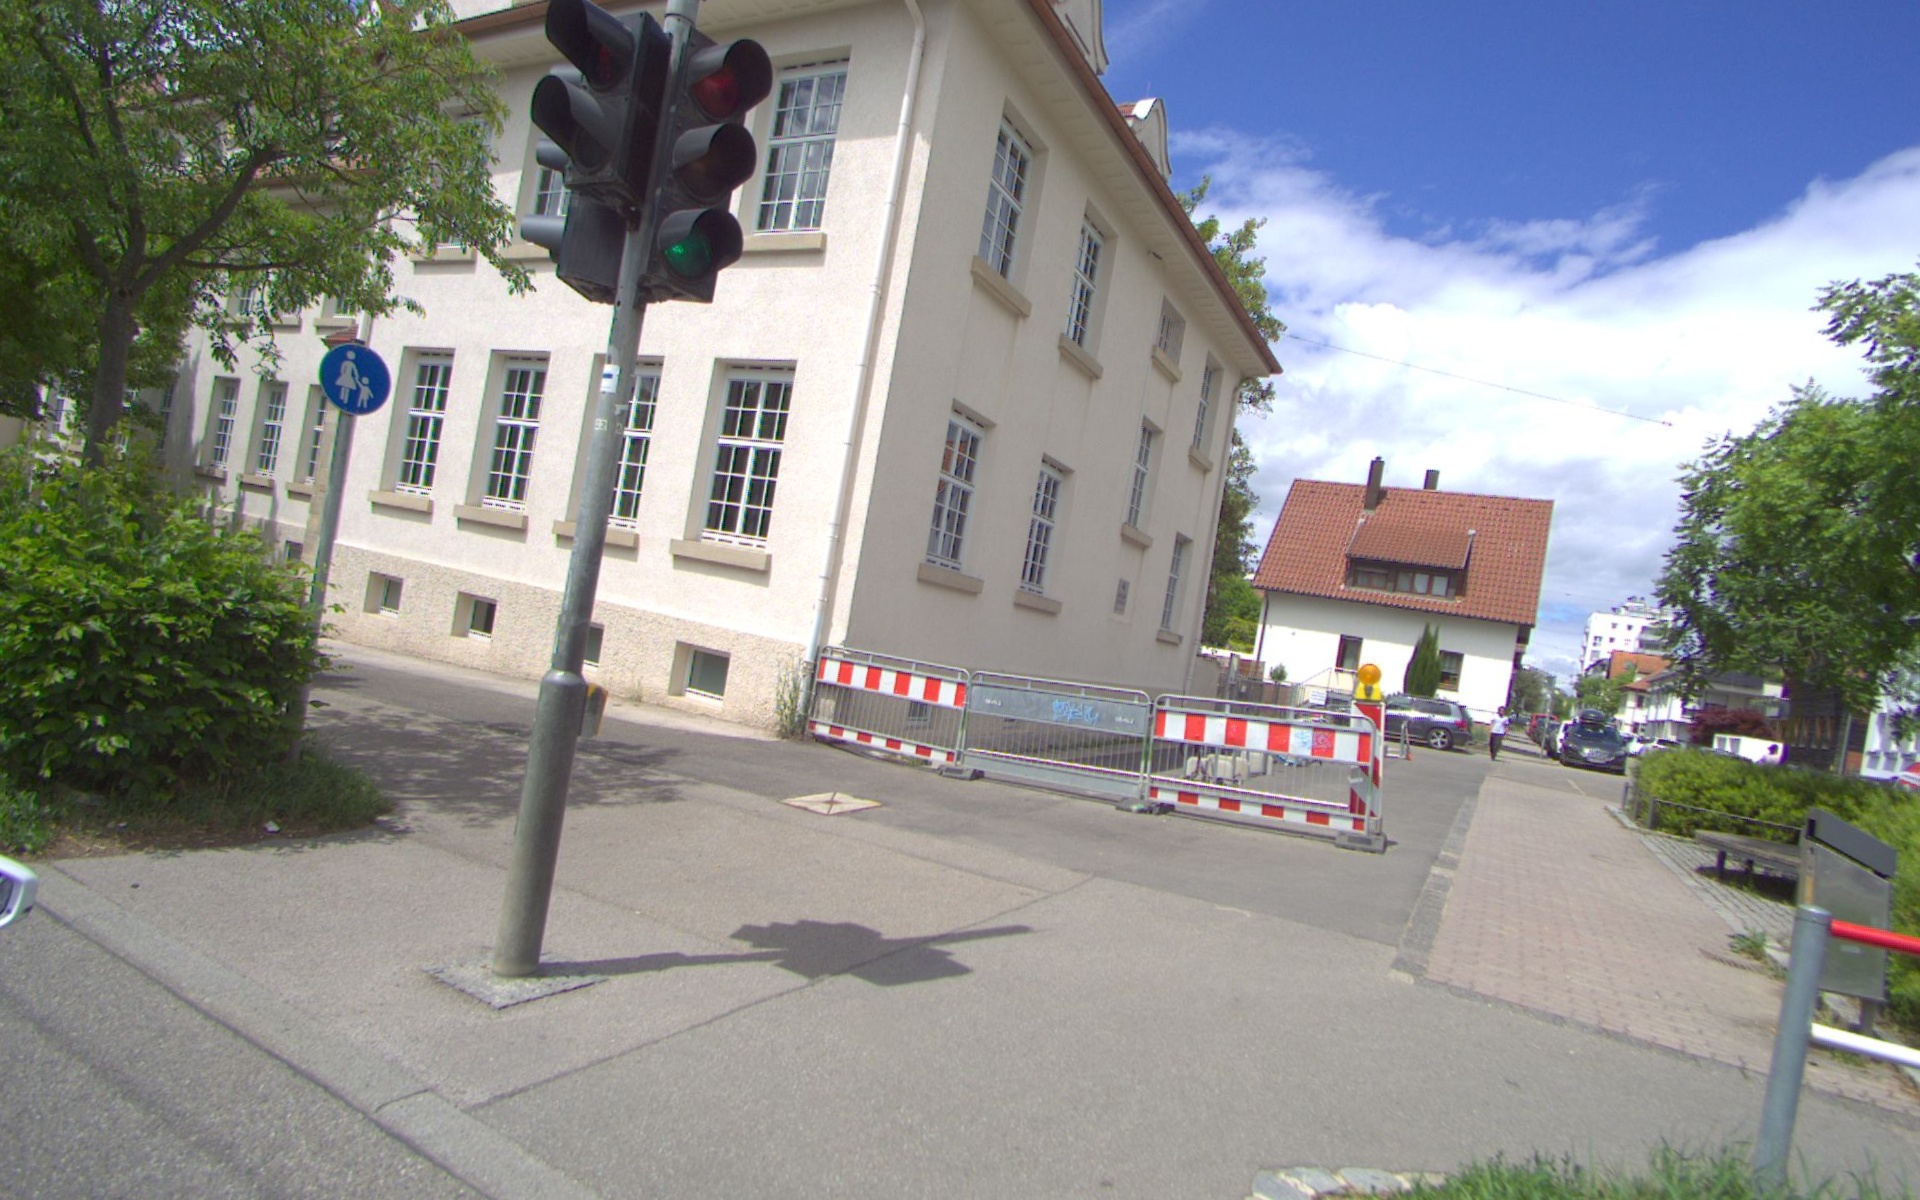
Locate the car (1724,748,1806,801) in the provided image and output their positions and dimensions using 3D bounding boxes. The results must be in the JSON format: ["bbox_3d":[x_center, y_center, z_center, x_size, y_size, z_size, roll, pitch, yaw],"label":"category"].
[{"bbox_3d":[29.385,6.333,36.838,1.573,1.436,3.997,8,-2,30],"label":"car"}]

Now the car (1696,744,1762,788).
[{"bbox_3d":[33.314,7.173,43.667,1.573,1.436,3.997,8,-2,30],"label":"car"}]

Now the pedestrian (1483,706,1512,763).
[{"bbox_3d":[16.747,4.180,31.352,0.601,1.675,0.431,8,-1,29],"label":"pedestrian"}]

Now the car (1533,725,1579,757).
[{"bbox_3d":[33.534,7.907,56.655,1.821,1.414,3.999,8,-2,28],"label":"car"}]

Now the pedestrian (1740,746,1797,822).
[{"bbox_3d":[20.405,4.629,25.403,0.835,1.746,0.758,8,-3,30],"label":"pedestrian"}]

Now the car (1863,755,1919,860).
[{"bbox_3d":[21.361,4.573,21.665,1.967,2.036,3.995,8,-2,32],"label":"car"}]

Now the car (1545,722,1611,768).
[{"bbox_3d":[24.871,5.784,40.589,1.821,1.414,3.999,8,-2,28],"label":"car"}]

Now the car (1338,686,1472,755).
[{"bbox_3d":[15.093,4.065,34.136,3.800,1.651,1.775,8,-1,32],"label":"car"}]

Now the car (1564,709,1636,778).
[{"bbox_3d":[22.799,5.072,35.766,1.824,2.036,3.992,8,-2,35],"label":"car"}]

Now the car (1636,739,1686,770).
[{"bbox_3d":[42.588,9.385,61.200,1.821,1.414,3.999,8,-2,28],"label":"car"}]

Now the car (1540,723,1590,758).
[{"bbox_3d":[31.442,7.274,52.390,1.821,1.414,3.999,8,-2,28],"label":"car"}]
